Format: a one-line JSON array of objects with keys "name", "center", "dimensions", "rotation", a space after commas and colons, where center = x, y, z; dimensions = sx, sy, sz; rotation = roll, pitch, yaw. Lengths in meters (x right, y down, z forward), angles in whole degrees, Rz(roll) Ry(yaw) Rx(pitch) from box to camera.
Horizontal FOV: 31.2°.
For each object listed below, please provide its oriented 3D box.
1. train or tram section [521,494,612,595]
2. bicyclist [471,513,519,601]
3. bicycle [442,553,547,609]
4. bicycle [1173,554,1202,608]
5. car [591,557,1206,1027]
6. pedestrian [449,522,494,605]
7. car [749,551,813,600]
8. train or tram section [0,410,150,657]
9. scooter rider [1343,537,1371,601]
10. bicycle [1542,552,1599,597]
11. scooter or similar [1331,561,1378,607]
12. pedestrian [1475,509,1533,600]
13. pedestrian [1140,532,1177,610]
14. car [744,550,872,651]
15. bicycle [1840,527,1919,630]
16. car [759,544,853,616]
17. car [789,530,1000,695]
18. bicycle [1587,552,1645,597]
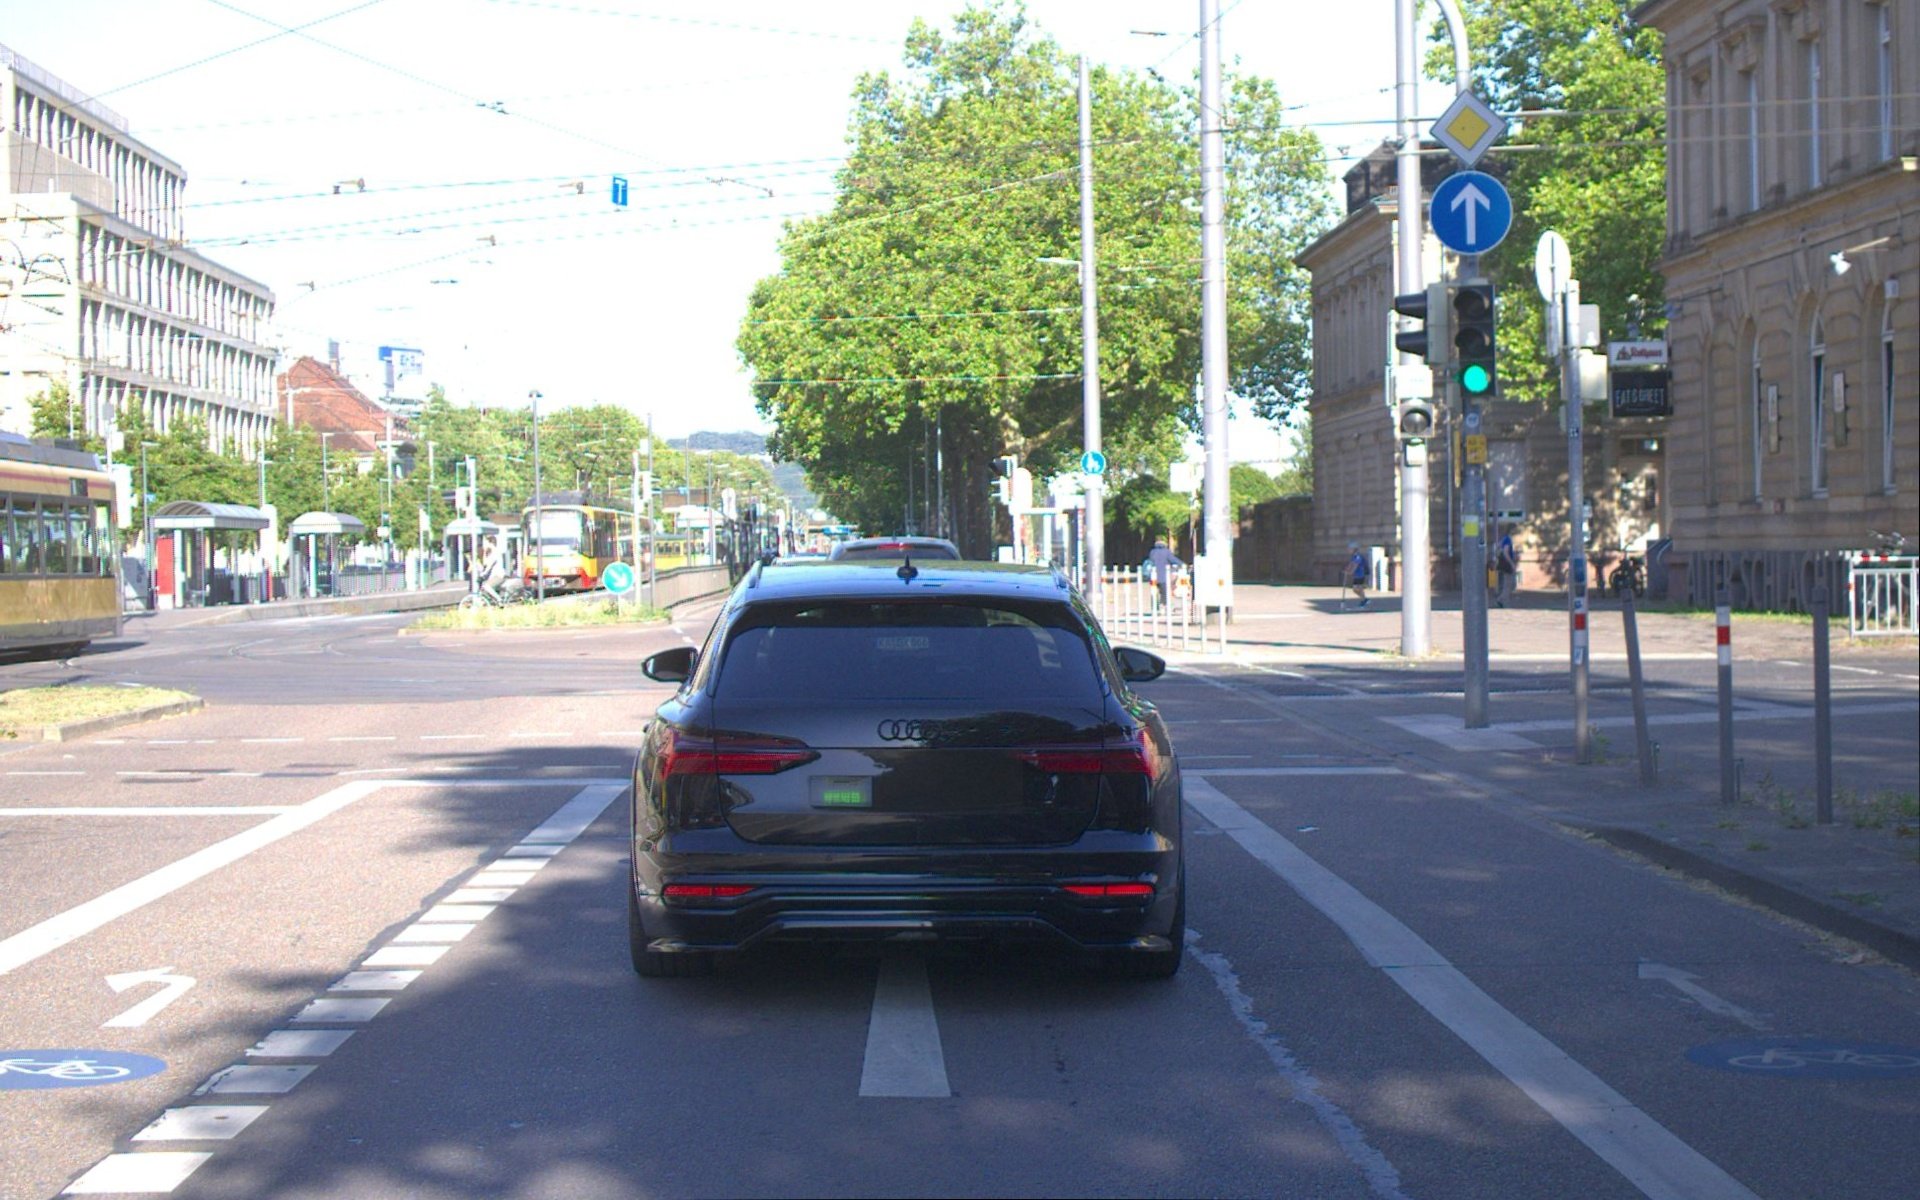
[{"name": "train or tram section", "center": [-14.159, -2.006, 124.241], "dimensions": [2.608, 3.439, 11.134], "rotation": [-1, 1, -3]}, {"name": "bicyclist", "center": [-9.692, -0.905, 71.634], "dimensions": [0.756, 1.812, 0.765], "rotation": [-2, 1, -23]}, {"name": "bicycle", "center": [-9.691, -0.402, 71.598], "dimensions": [2.005, 1.104, 0.765], "rotation": [-2, 1, -24]}, {"name": "bicycle", "center": [4.917, -0.415, 74.447], "dimensions": [0.434, 1.141, 1.340], "rotation": [-1, 1, -3]}, {"name": "car", "center": [-0.239, 0.574, 12.771], "dimensions": [1.902, 1.417, 4.145], "rotation": [1, 1, -1]}, {"name": "pedestrian", "center": [-10.377, -0.776, 73.054], "dimensions": [0.740, 1.735, 0.664], "rotation": [-1, 1, -26]}, {"name": "car", "center": [-5.674, -0.788, 109.545], "dimensions": [1.902, 1.481, 4.145], "rotation": [1, 1, -1]}, {"name": "train or tram section", "center": [-15.057, -0.976, 52.464], "dimensions": [2.813, 3.477, 12.155], "rotation": [-1, 1, -2]}, {"name": "scooter rider", "center": [8.644, -0.677, 74.888], "dimensions": [0.484, 1.381, 0.377], "rotation": [-2, 0, -3]}, {"name": "bicycle", "center": [14.312, -0.610, 80.631], "dimensions": [0.526, 1.043, 2.360], "rotation": [-1, 1, -10]}, {"name": "scooter or similar", "center": [8.593, -0.346, 74.875], "dimensions": [0.938, 0.963, 0.361], "rotation": [-2, 0, -4]}, {"name": "pedestrian", "center": [11.343, -0.954, 71.665], "dimensions": [0.979, 1.859, 0.827], "rotation": [-1, 1, -6]}, {"name": "pedestrian", "center": [4.290, -0.635, 74.404], "dimensions": [0.682, 1.655, 0.758], "rotation": [-1, 1, -3]}, {"name": "car", "center": [-2.349, -0.017, 53.870], "dimensions": [1.902, 1.481, 4.145], "rotation": [1, 1, -1]}, {"name": "bicycle", "center": [11.904, -0.296, 41.861], "dimensions": [2.136, 1.205, 0.765], "rotation": [-2, 1, -3]}, {"name": "car", "center": [-3.282, -0.456, 73.944], "dimensions": [1.902, 1.481, 4.145], "rotation": [1, 1, -1]}, {"name": "car", "center": [-0.640, 0.077, 33.309], "dimensions": [1.902, 1.481, 4.145], "rotation": [1, 1, -1]}, {"name": "bicycle", "center": [15.377, -0.602, 80.636], "dimensions": [0.526, 1.043, 2.360], "rotation": [-1, 1, -10]}]
